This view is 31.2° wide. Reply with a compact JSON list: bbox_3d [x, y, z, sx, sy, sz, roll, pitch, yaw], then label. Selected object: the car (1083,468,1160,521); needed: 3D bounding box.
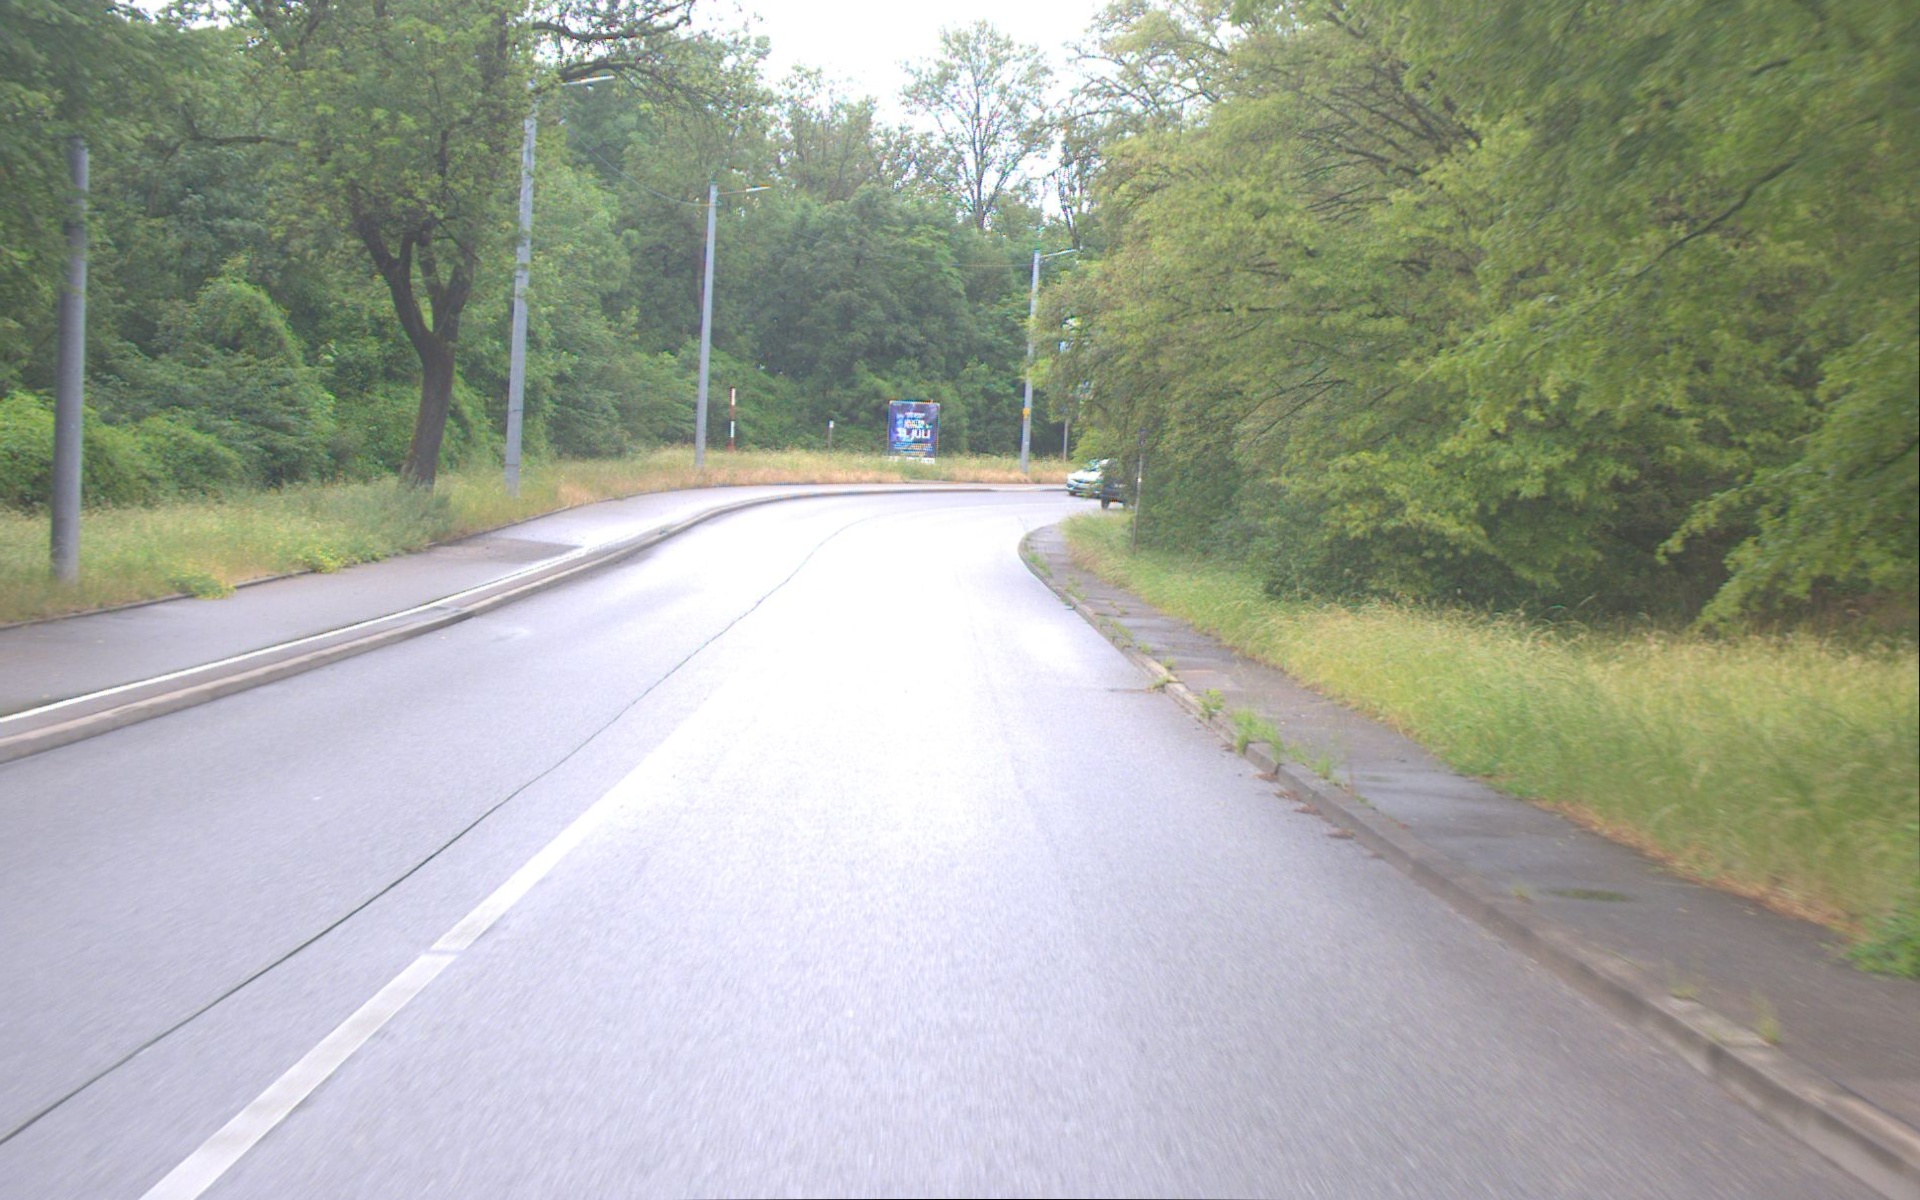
[{"bbox_3d":[5.811,-3.777,123.383,1.743,1.711,3.997,4,1,17],"label":"car"}]
